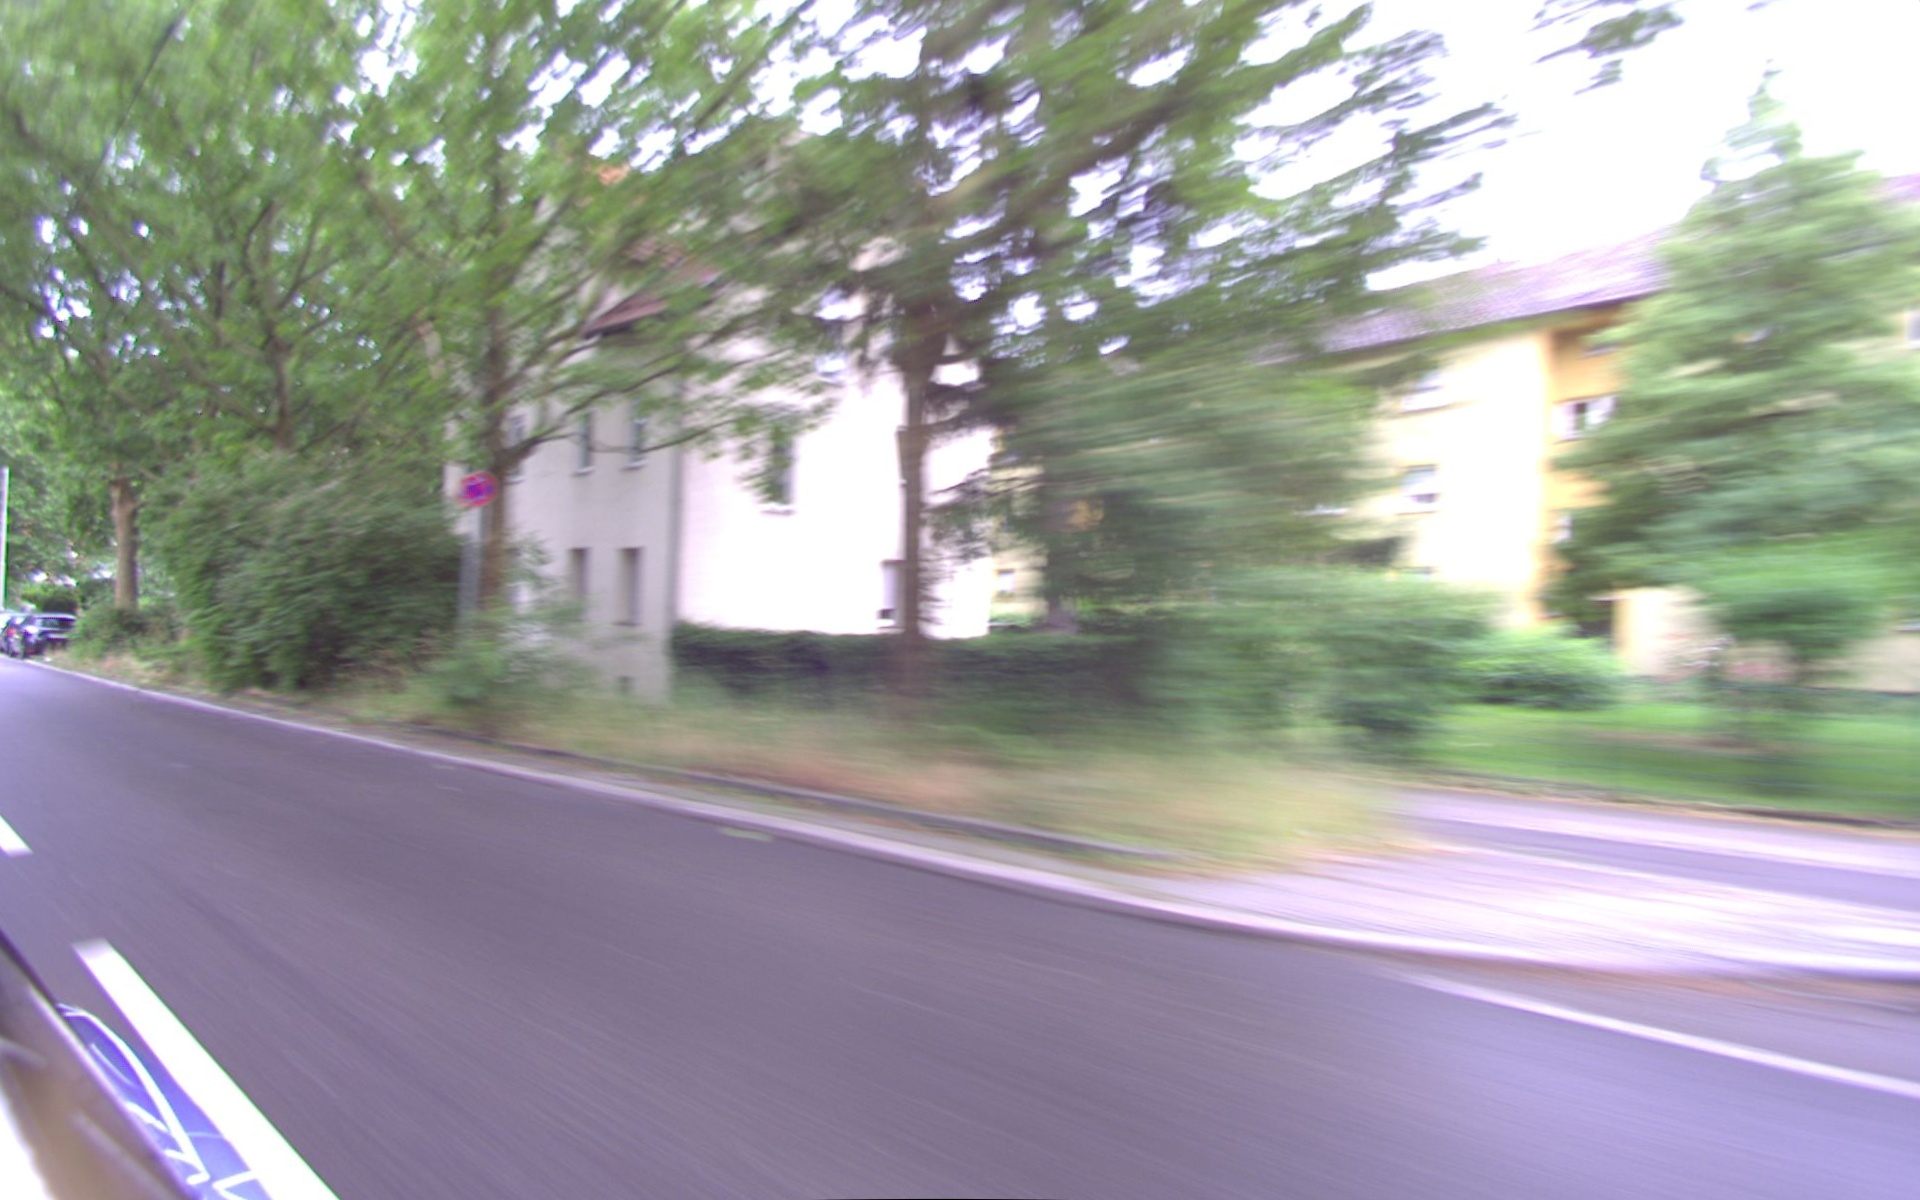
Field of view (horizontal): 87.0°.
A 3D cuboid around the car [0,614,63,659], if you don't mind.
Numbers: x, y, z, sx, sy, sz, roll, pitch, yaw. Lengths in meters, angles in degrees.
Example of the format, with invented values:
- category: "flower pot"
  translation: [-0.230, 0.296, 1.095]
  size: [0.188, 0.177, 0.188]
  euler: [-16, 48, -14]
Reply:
- category: "car"
  translation: [-34.906, 1.348, 37.728]
  size: [3.873, 1.519, 1.654]
  euler: [0, -5, 42]

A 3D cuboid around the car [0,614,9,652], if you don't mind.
- category: "car"
  translation: [-43.211, 1.377, 44.196]
  size: [4.235, 1.603, 1.846]
  euler: [0, -4, 40]

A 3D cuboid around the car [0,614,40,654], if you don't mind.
- category: "car"
  translation: [-39.201, 1.365, 41.646]
  size: [4.123, 1.519, 1.654]
  euler: [0, 0, 43]

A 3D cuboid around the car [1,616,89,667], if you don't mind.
- category: "car"
  translation: [-31.048, 1.386, 34.300]
  size: [4.016, 1.549, 1.630]
  euler: [0, -5, 41]
